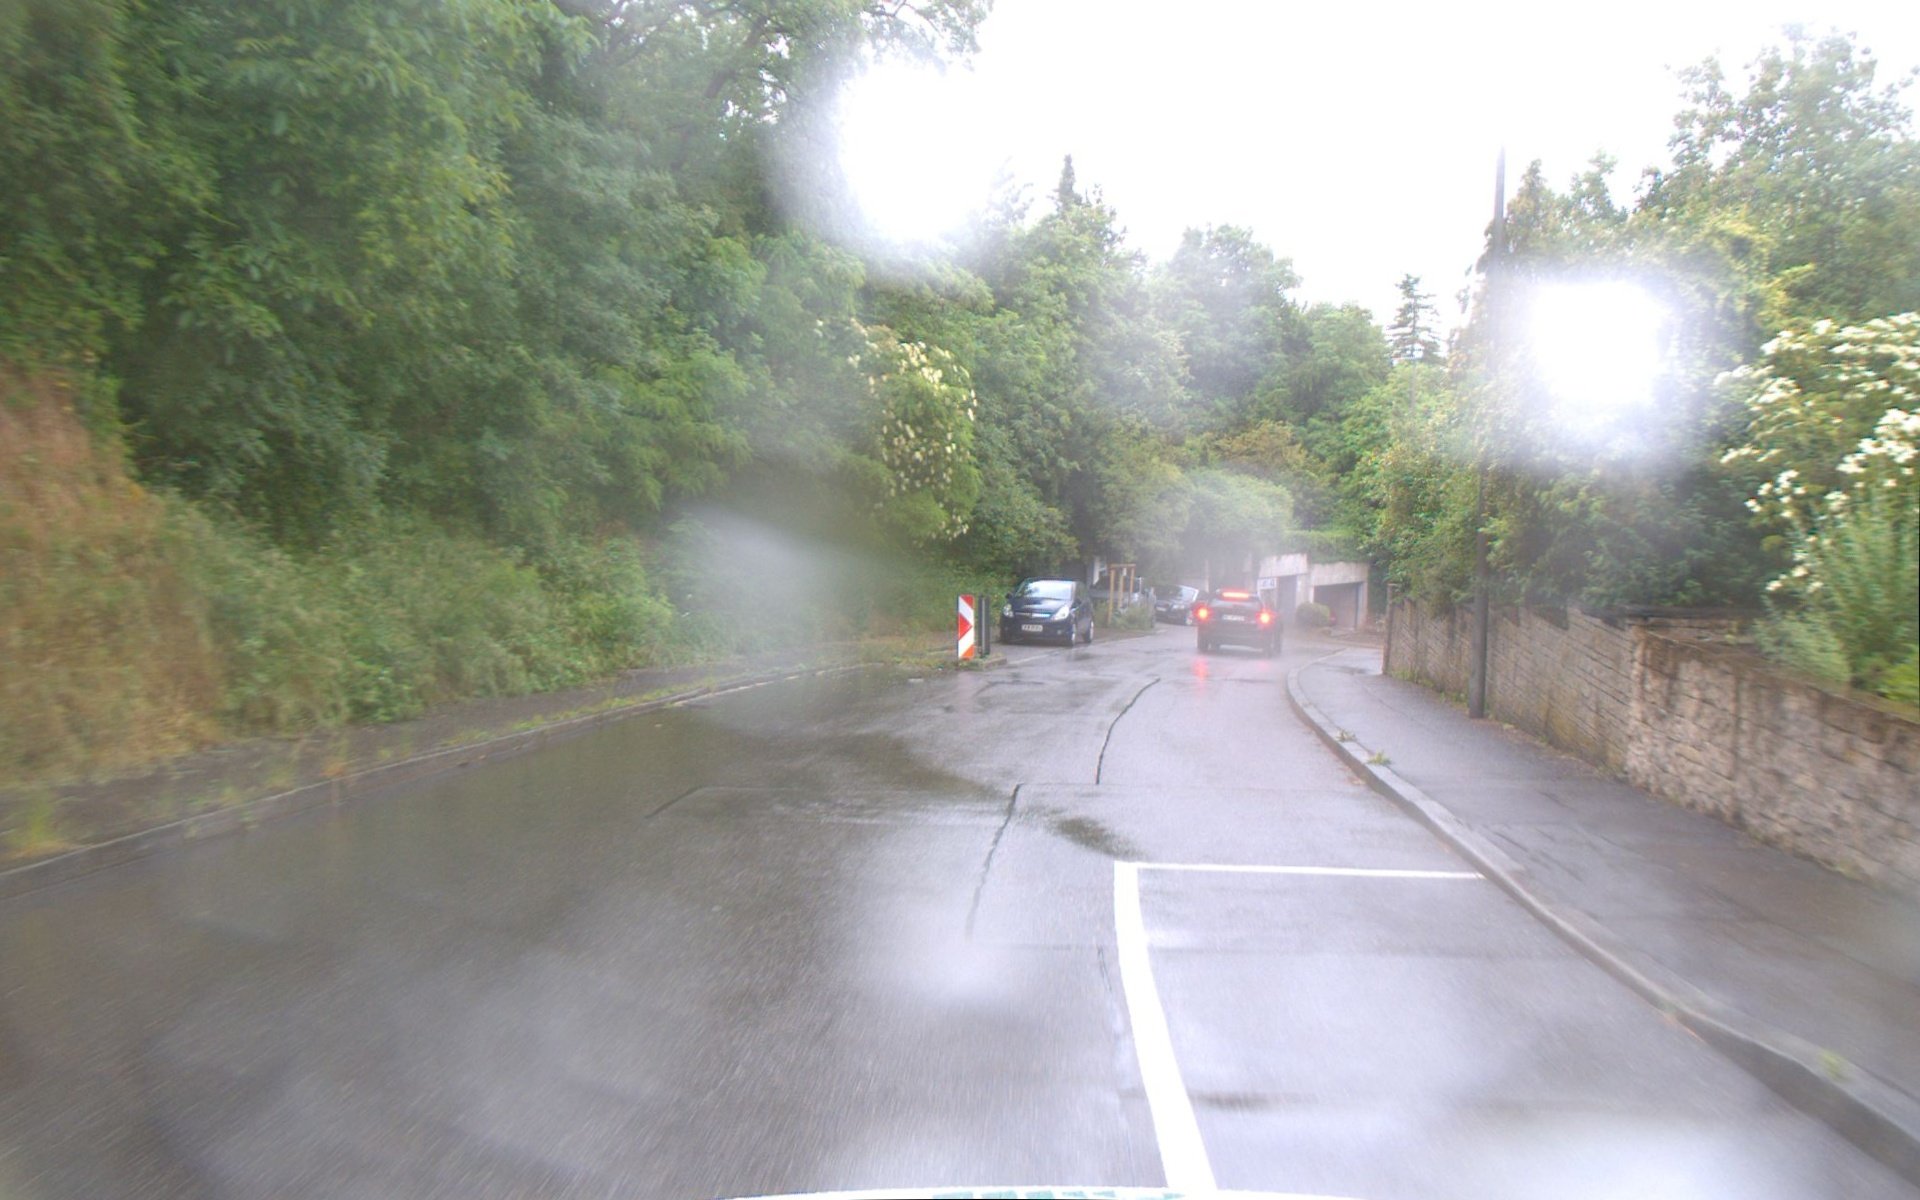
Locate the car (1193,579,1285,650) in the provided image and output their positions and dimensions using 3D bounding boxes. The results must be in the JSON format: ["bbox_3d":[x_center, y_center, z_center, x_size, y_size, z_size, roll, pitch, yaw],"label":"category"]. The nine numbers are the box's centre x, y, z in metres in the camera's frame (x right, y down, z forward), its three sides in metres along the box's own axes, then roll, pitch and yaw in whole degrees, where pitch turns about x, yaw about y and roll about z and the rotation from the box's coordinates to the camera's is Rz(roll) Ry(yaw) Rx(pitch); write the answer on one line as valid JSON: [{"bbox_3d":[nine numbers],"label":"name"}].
[{"bbox_3d":[6.657,0.304,39.130,1.829,1.538,4.096,1,1,14],"label":"car"}]

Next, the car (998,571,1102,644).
[{"bbox_3d":[2.113,0.138,37.790,1.663,1.496,4.004,3,1,13],"label":"car"}]

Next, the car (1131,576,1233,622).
[{"bbox_3d":[8.218,-0.013,60.977,1.958,1.534,4.558,3,1,32],"label":"car"}]
